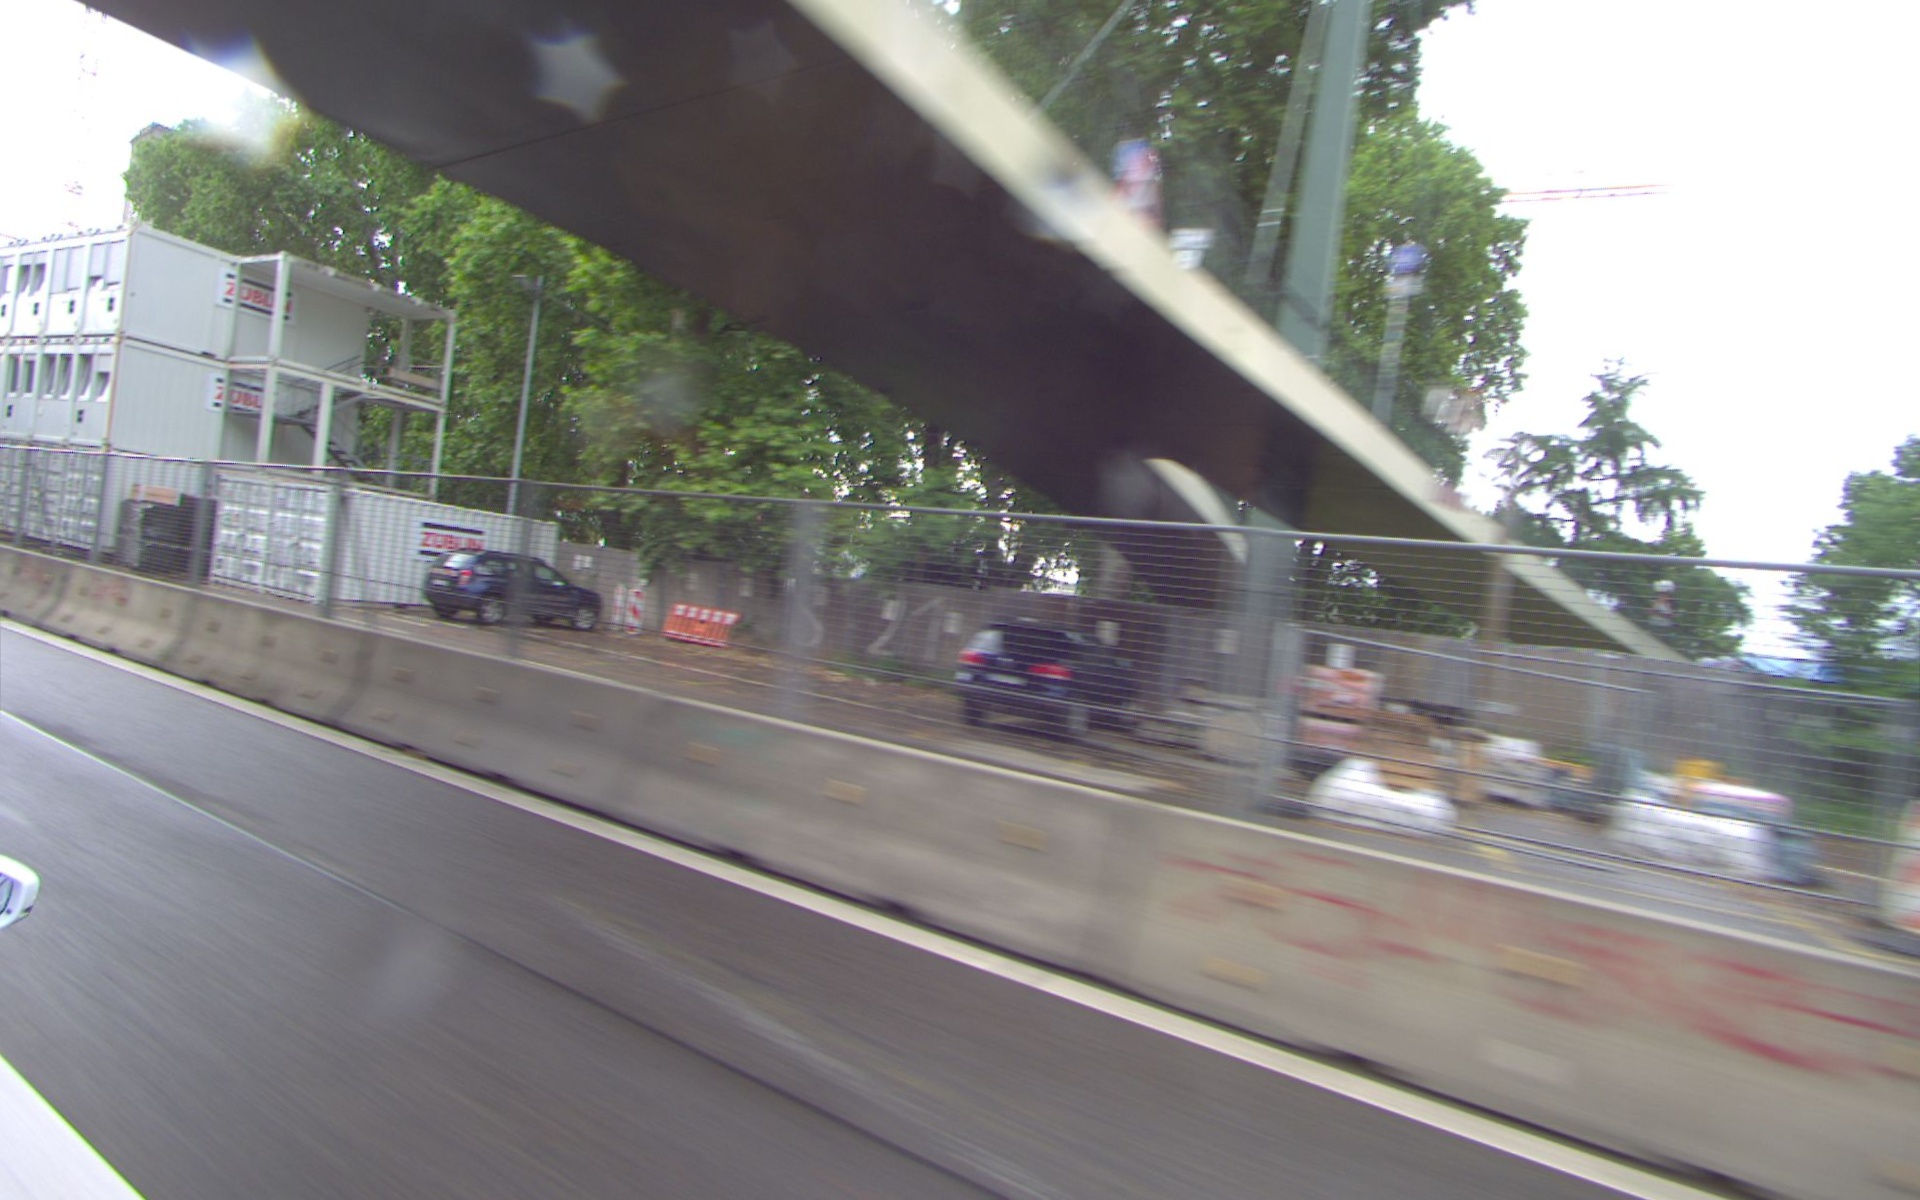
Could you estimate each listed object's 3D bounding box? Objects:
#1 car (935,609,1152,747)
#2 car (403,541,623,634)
[{"bbox_3d":[1.561,1.275,16.754,1.964,1.749,4.511,7,-1,25],"label":"car"},{"bbox_3d":[-10.539,-0.218,24.092,1.757,1.648,4.552,9,0,28],"label":"car"}]
